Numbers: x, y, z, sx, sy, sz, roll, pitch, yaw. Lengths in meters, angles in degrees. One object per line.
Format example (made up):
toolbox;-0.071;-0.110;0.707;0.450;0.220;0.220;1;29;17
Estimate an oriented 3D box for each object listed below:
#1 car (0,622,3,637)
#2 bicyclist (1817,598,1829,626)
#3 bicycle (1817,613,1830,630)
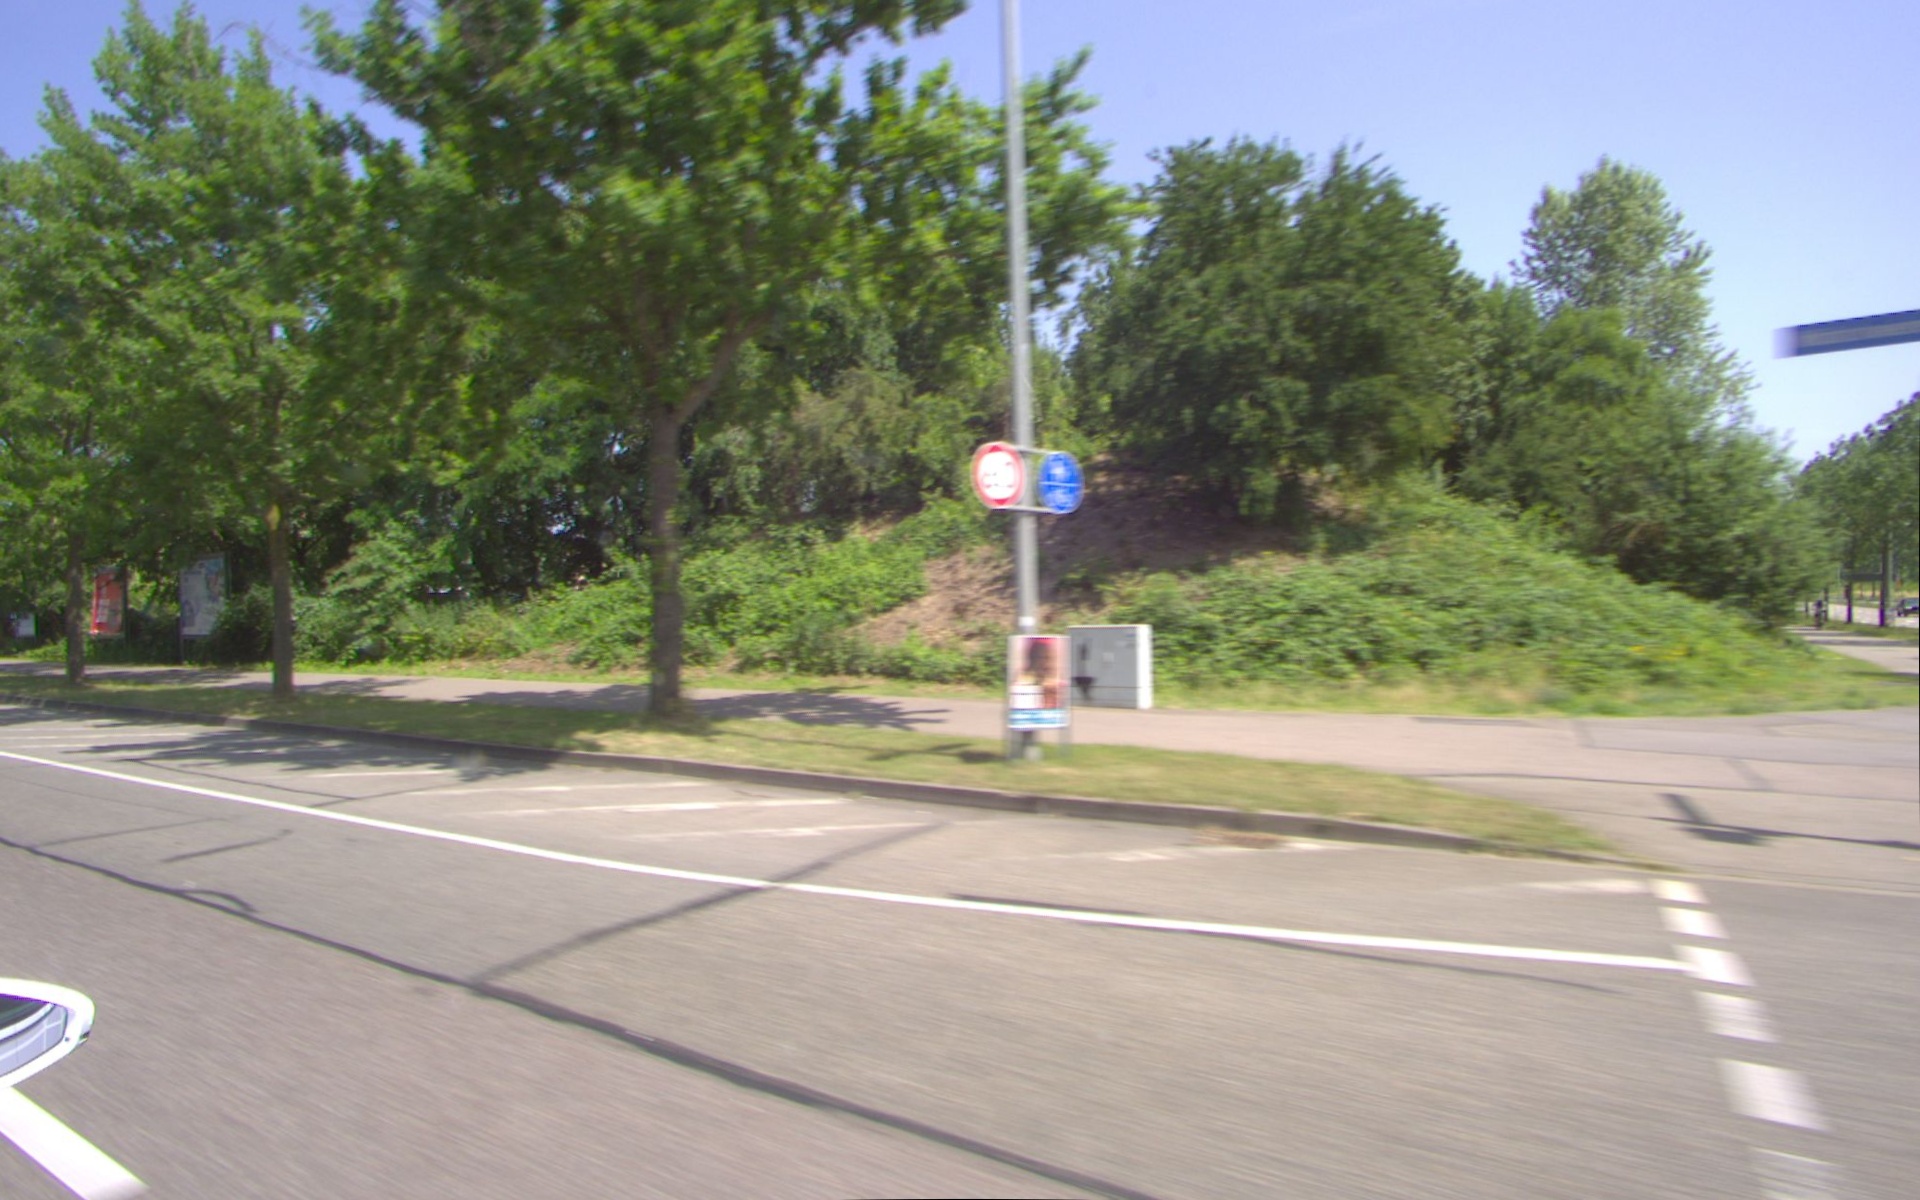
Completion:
car;-75.147;2.289;77.362;3.262;1.203;1.374;-1;0;39
bicyclist;45.010;0.634;52.225;0.478;1.452;0.487;0;0;39
bicycle;44.953;1.112;52.139;0.435;0.896;1.443;0;0;38
